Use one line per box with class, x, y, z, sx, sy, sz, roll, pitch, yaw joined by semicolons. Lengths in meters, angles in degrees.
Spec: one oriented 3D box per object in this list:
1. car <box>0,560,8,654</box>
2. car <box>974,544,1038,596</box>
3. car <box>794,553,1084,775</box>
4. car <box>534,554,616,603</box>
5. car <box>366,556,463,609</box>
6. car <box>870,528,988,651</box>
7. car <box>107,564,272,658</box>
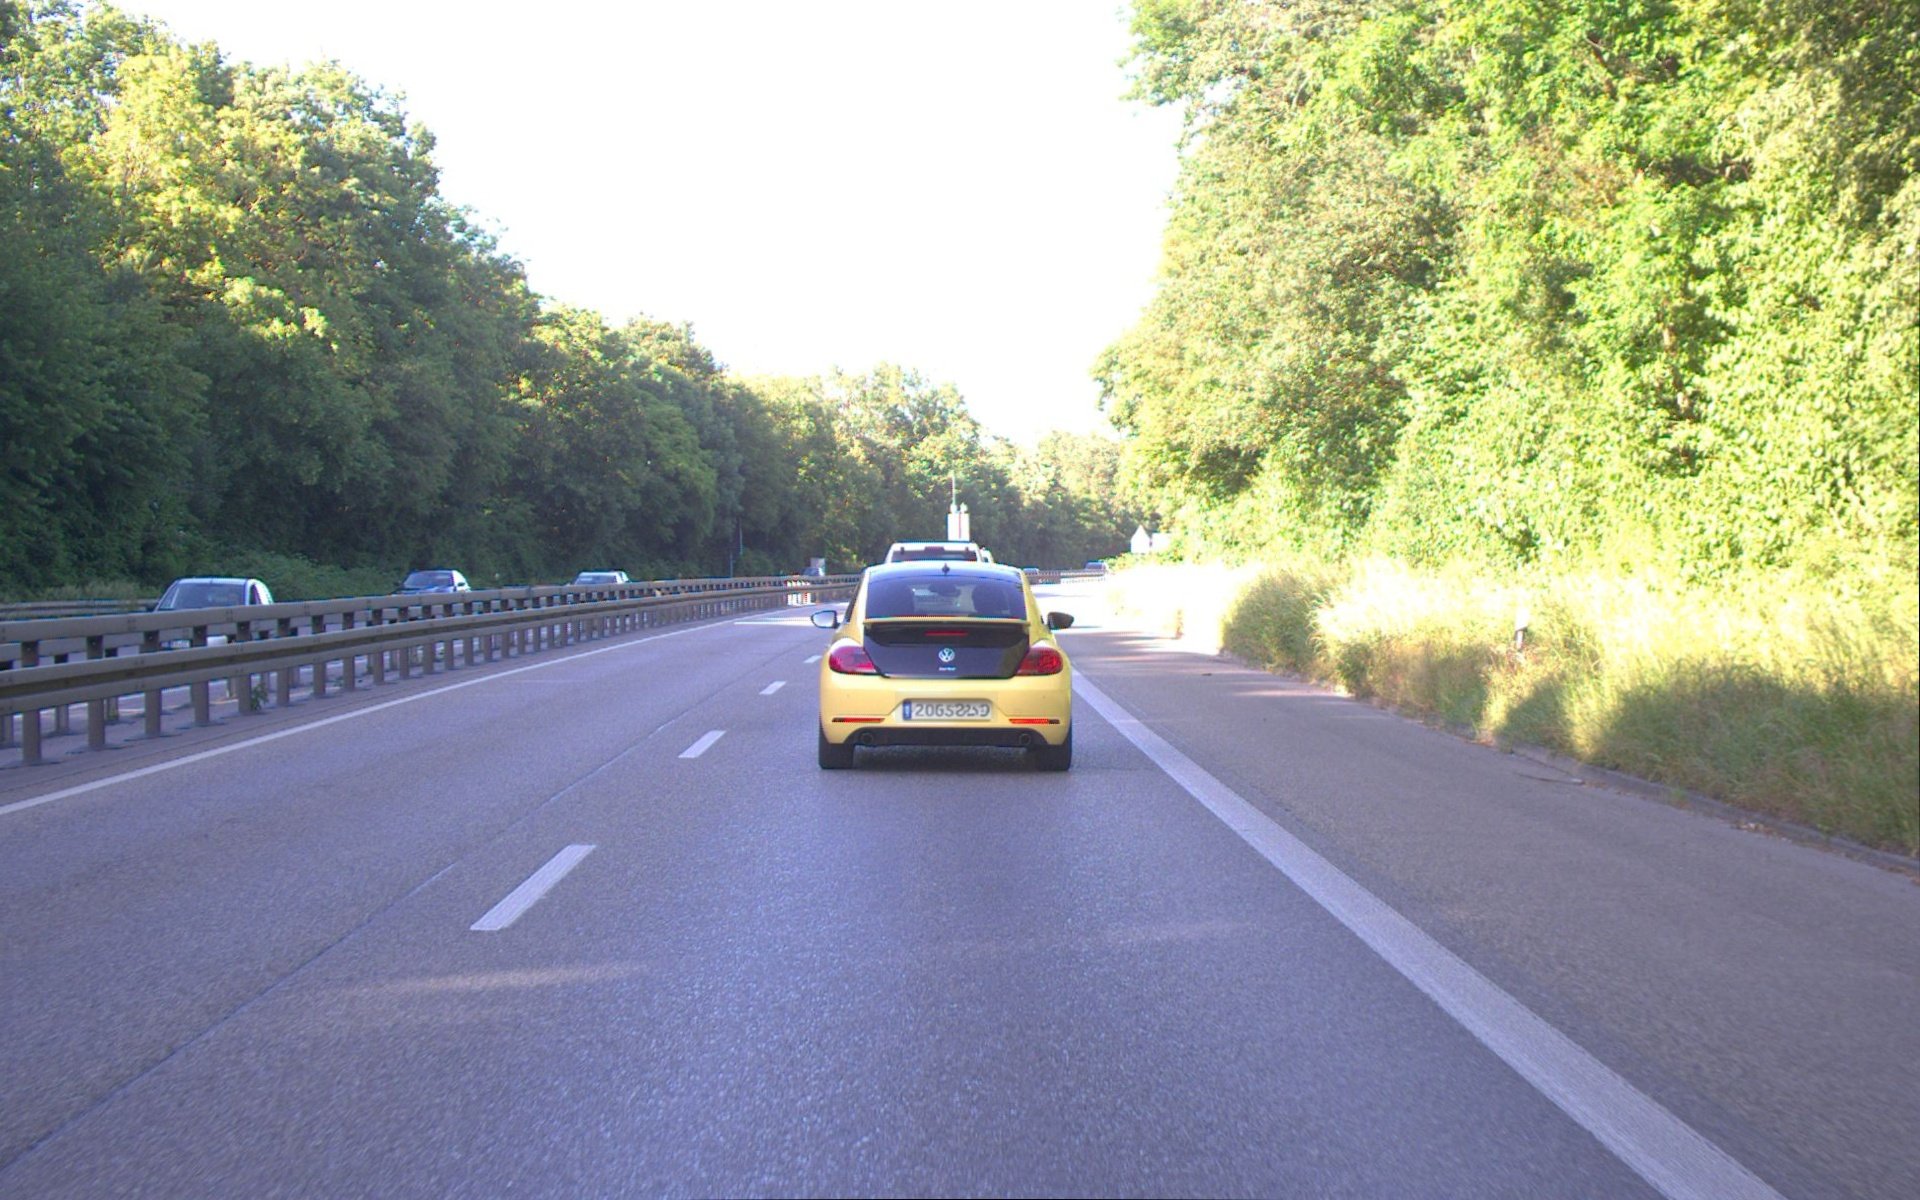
car;-15.893;0.170;51.595;1.993;1.459;4.000;-2;1;1
car;1.723;-1.125;127.382;2.263;1.869;5.076;1;1;1
car;-0.083;0.414;25.069;1.939;1.503;3.422;0;1;3
car;-12.415;-0.707;111.100;1.993;1.459;4.740;-2;1;1
car;-16.100;-0.541;101.686;1.993;1.459;4.902;-2;1;1
car;-0.450;-0.177;53.184;1.741;1.823;3.422;1;1;1
car;-12.190;0.205;54.590;1.724;1.368;4.096;-2;-1;-1
